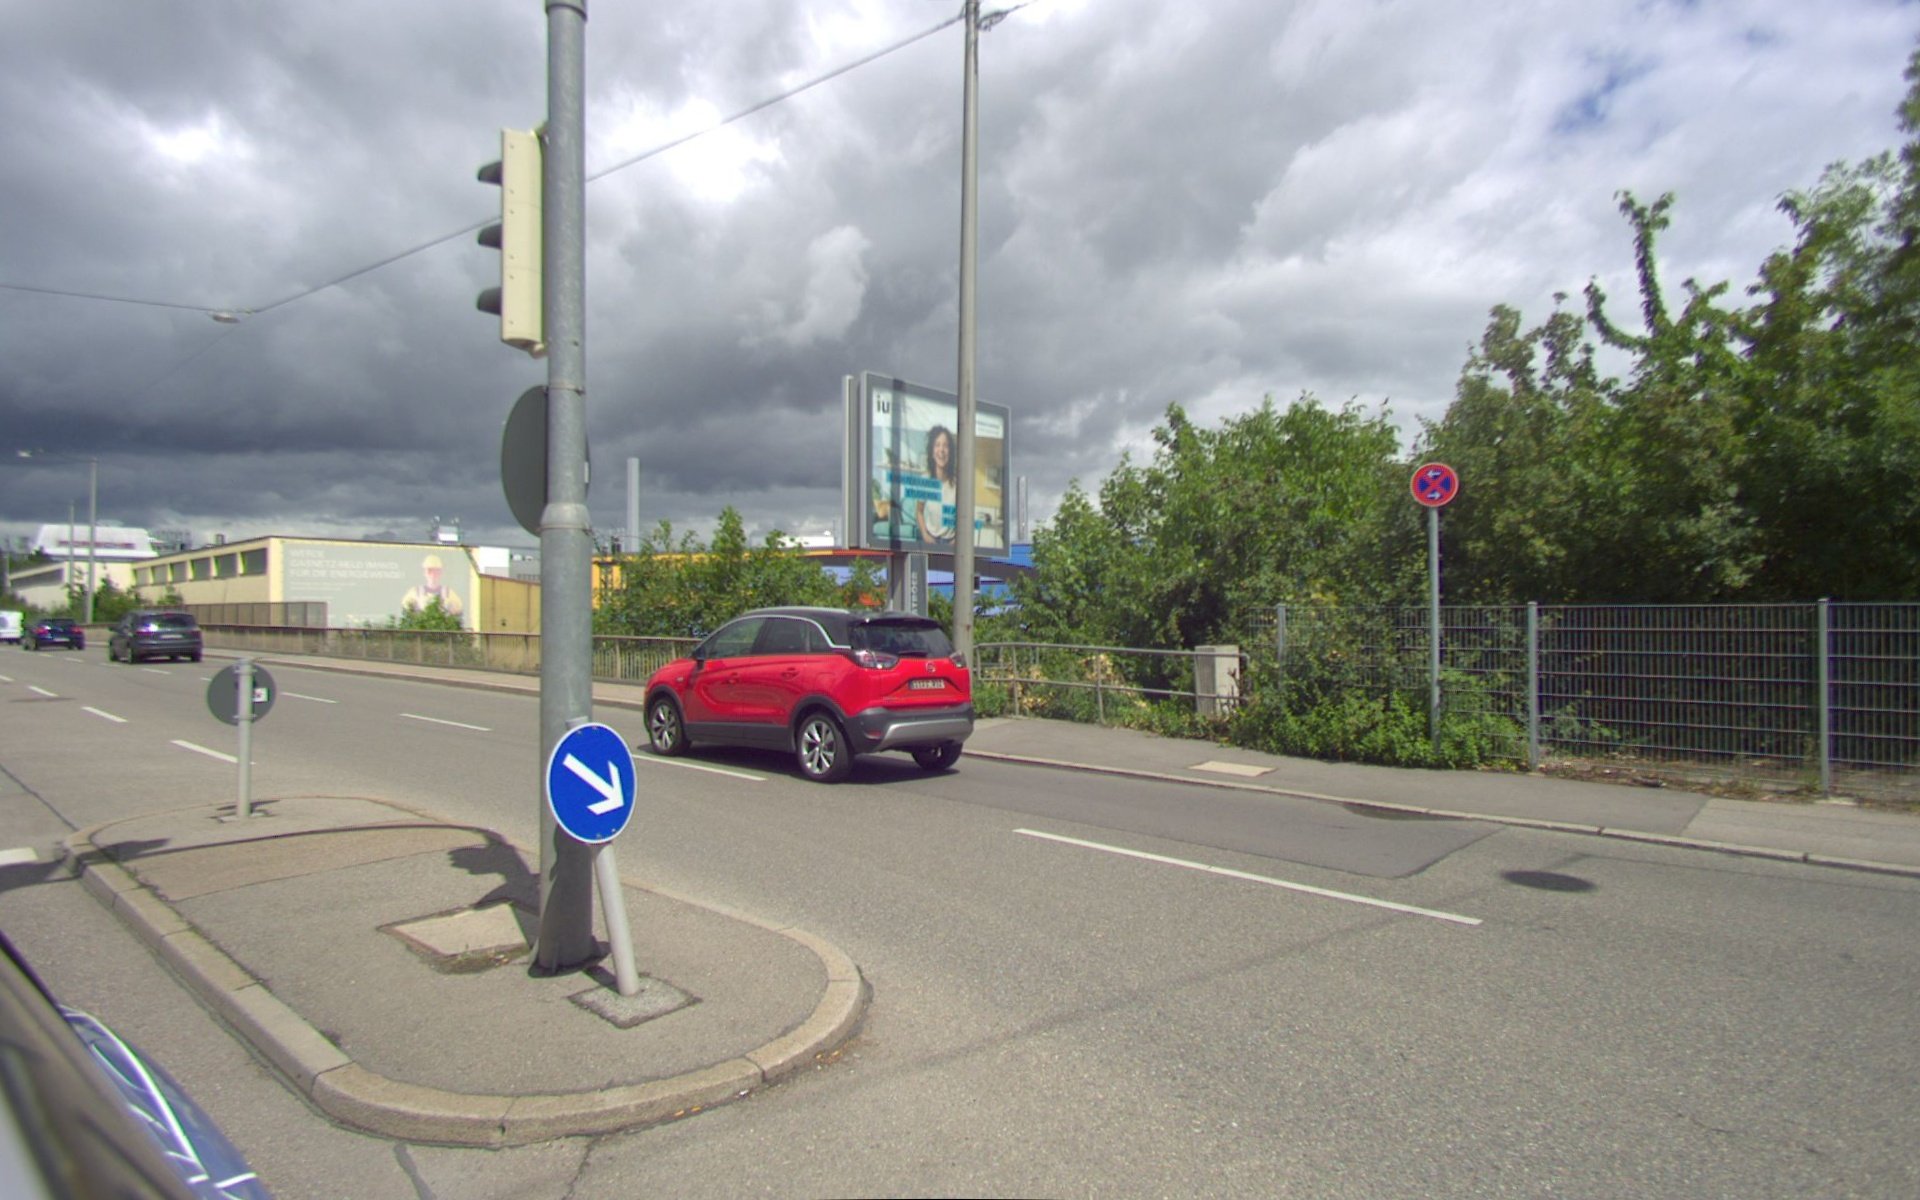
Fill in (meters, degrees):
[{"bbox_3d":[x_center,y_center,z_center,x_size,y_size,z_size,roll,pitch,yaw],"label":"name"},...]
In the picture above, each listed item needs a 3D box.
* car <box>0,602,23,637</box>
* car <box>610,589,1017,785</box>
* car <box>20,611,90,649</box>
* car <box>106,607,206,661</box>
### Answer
[{"bbox_3d":[-57.940,1.190,60.738,5.647,2.029,1.872,-1,-1,41],"label":"car"},{"bbox_3d":[-1.634,0.785,10.443,4.151,1.611,1.910,-1,-3,41],"label":"car"},{"bbox_3d":[-40.019,1.305,44.729,3.998,1.630,1.836,-1,-1,41],"label":"car"},{"bbox_3d":[-25.631,1.053,32.220,3.998,1.630,1.836,-1,-1,41],"label":"car"}]
